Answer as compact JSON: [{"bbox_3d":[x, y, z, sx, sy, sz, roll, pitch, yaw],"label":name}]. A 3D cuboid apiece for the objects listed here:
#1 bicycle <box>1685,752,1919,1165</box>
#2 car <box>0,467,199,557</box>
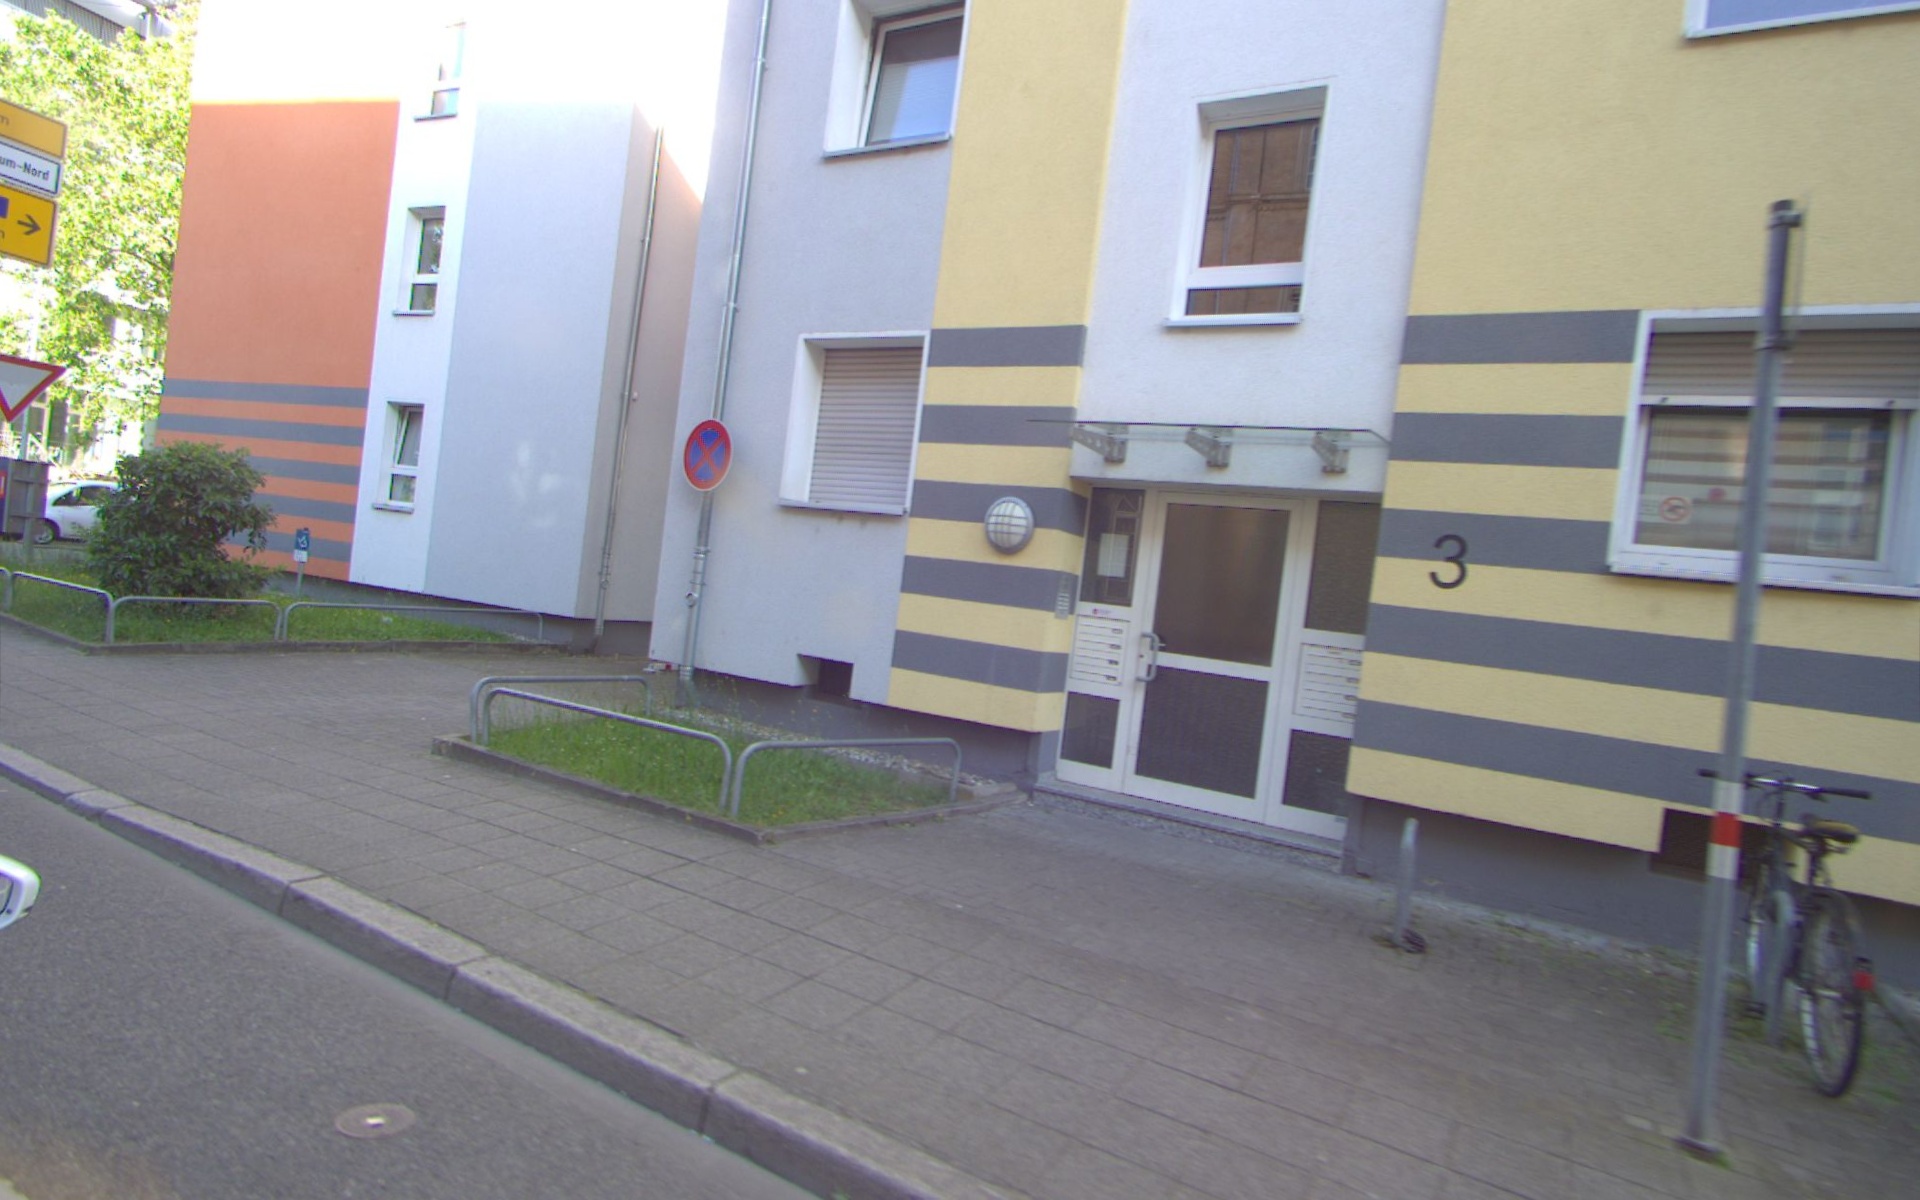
[{"bbox_3d":[3.503,1.278,4.007,0.625,1.074,1.945,8,1,28],"label":"bicycle"},{"bbox_3d":[-23.221,-2.317,26.670,1.607,1.822,4.550,7,1,24],"label":"car"}]
